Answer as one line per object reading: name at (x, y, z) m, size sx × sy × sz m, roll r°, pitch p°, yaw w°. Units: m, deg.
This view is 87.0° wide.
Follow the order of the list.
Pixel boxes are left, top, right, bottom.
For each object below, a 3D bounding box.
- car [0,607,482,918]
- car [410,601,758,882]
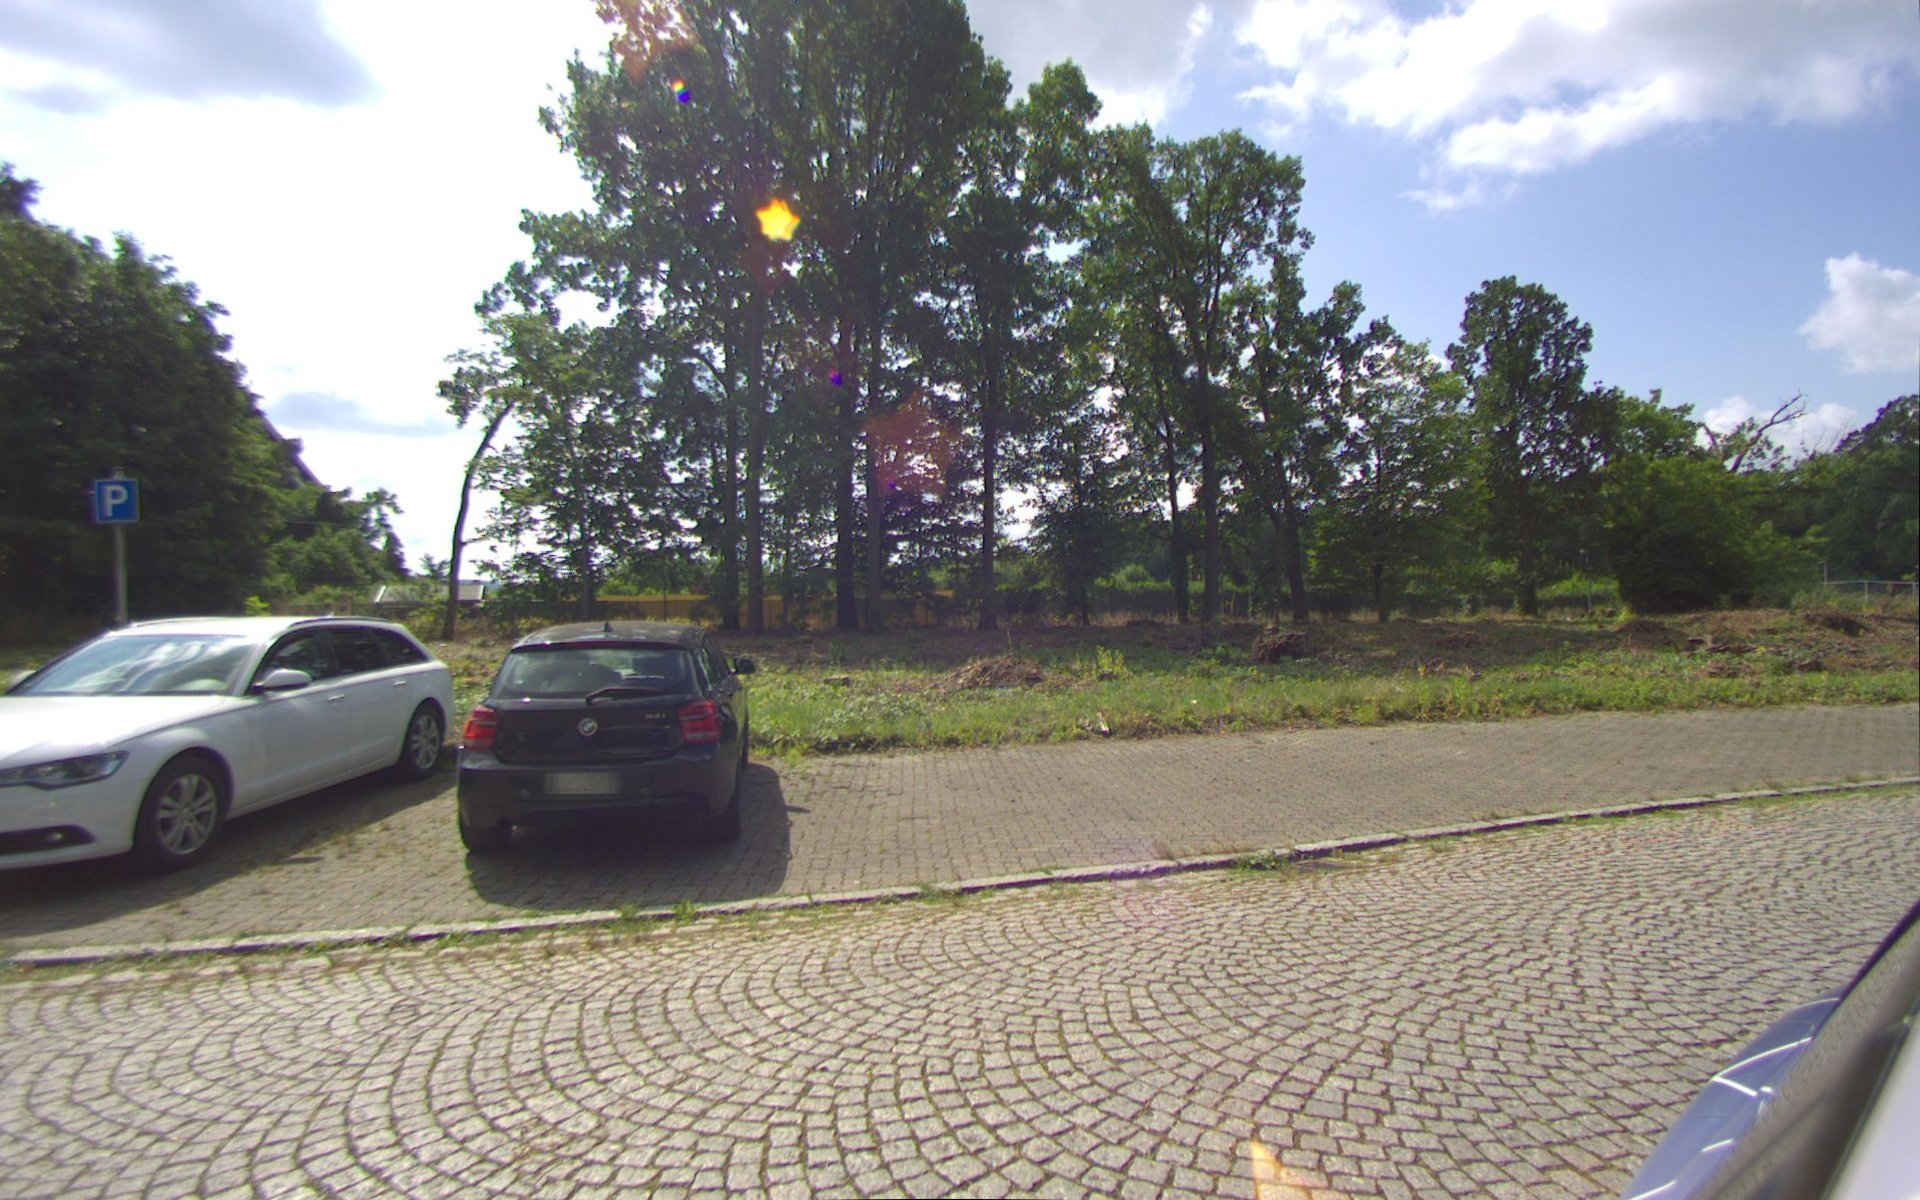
car at (-5.579, 0.847, 7.589) m, size 1.838 × 1.491 × 4.880 m, roll 0°, pitch 1°, yaw -2°
car at (-2.566, 0.797, 7.967) m, size 1.792 × 1.519 × 4.346 m, roll 0°, pitch 1°, yaw -10°
